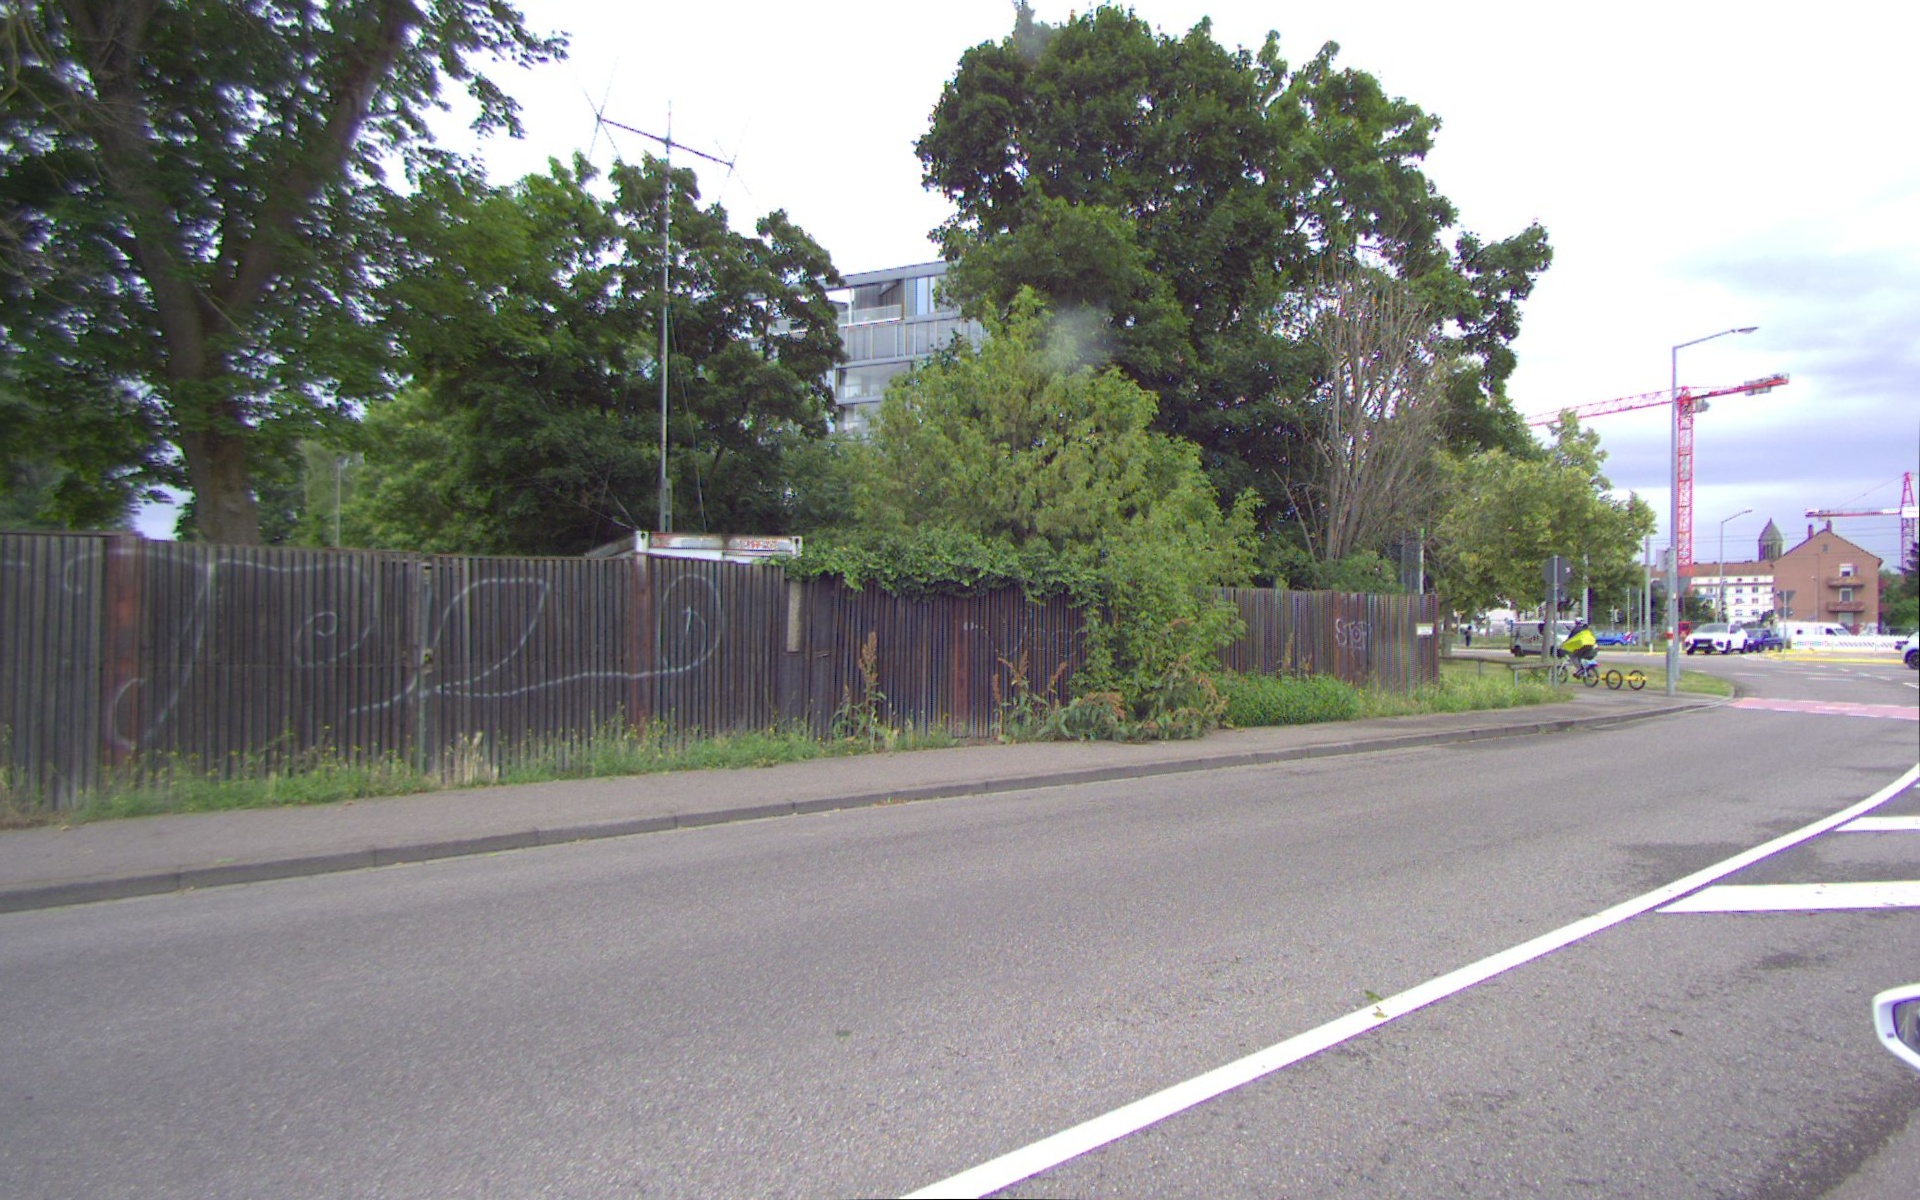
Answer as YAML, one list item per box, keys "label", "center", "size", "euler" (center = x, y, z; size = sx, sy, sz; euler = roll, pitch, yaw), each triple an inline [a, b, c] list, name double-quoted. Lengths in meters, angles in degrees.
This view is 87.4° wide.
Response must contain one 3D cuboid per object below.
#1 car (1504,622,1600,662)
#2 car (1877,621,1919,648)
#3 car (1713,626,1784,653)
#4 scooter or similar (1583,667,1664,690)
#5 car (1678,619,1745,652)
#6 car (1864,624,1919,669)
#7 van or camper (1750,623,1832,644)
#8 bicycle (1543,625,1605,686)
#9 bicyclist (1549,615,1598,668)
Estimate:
- label: "car"
  center: [29.752, 2.060, 50.703]
  size: [2.057, 1.925, 4.849]
  euler: [0, -1, 1]
- label: "car"
  center: [58.951, 2.091, 60.986]
  size: [4.580, 1.656, 2.001]
  euler: [0, -1, 6]
- label: "car"
  center: [45.762, 2.256, 58.286]
  size: [3.953, 1.509, 1.922]
  euler: [1, -1, -30]
- label: "scooter or similar"
  center: [17.228, 2.037, 26.132]
  size: [0.908, 0.511, 1.609]
  euler: [1, -1, -11]
- label: "car"
  center: [40.552, 1.875, 54.189]
  size: [4.152, 1.706, 1.916]
  euler: [1, -1, -38]
- label: "car"
  center: [33.808, 1.610, 34.274]
  size: [1.970, 1.528, 3.981]
  euler: [1, -1, -21]
- label: "van or camper"
  center: [82.429, 3.283, 99.712]
  size: [1.969, 2.040, 6.171]
  euler: [1, -1, -19]
- label: "bicycle"
  center: [16.913, 1.514, 27.708]
  size: [0.595, 1.633, 1.478]
  euler: [1, -1, -13]
- label: "bicyclist"
  center: [16.916, 1.128, 27.709]
  size: [0.604, 1.420, 1.062]
  euler: [1, -1, -13]
